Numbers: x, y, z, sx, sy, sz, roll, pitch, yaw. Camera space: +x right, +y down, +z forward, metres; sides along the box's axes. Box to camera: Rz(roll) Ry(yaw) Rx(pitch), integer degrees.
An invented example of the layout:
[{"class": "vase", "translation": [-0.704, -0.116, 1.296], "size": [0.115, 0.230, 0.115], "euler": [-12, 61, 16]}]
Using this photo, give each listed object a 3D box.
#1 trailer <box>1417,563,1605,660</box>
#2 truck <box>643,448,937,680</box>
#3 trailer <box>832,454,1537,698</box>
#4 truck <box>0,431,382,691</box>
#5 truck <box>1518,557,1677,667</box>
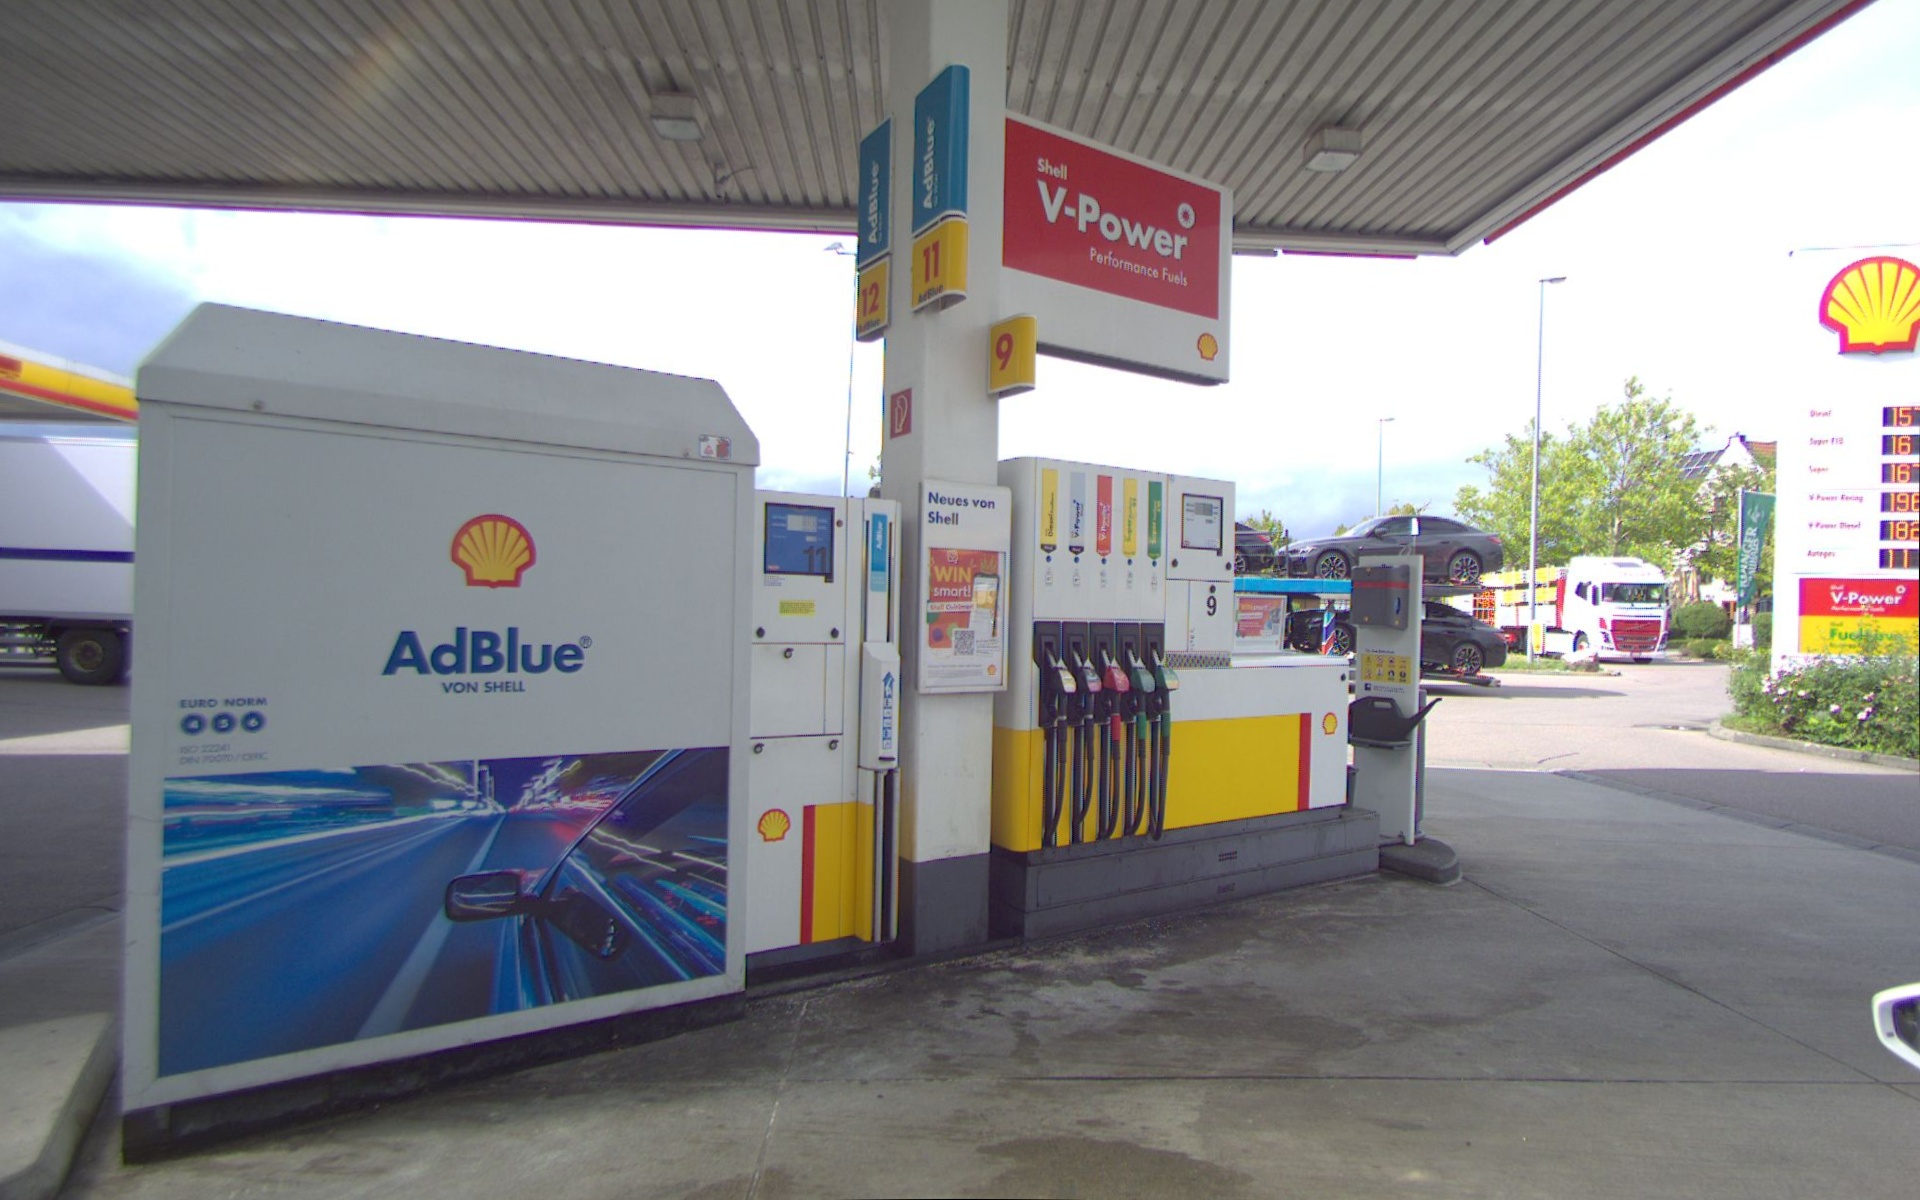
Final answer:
[{"class": "trailer", "translation": [25.229, 0.504, 47.071], "size": [2.684, 3.826, 12.718], "euler": [2, 0, 5]}, {"class": "truck", "translation": [-3.447, -0.707, 21.539], "size": [5.713, 4.479, 2.750], "euler": [2, 0, 0]}, {"class": "trailer", "translation": [4.529, -0.471, 21.577], "size": [14.077, 4.481, 2.746], "euler": [2, 0, 0]}, {"class": "truck", "translation": [-17.298, -0.740, 17.495], "size": [12.654, 4.092, 2.534], "euler": [2, 0, -3]}, {"class": "truck", "translation": [24.575, 0.444, 39.094], "size": [2.686, 3.897, 5.921], "euler": [2, 0, 5]}]
